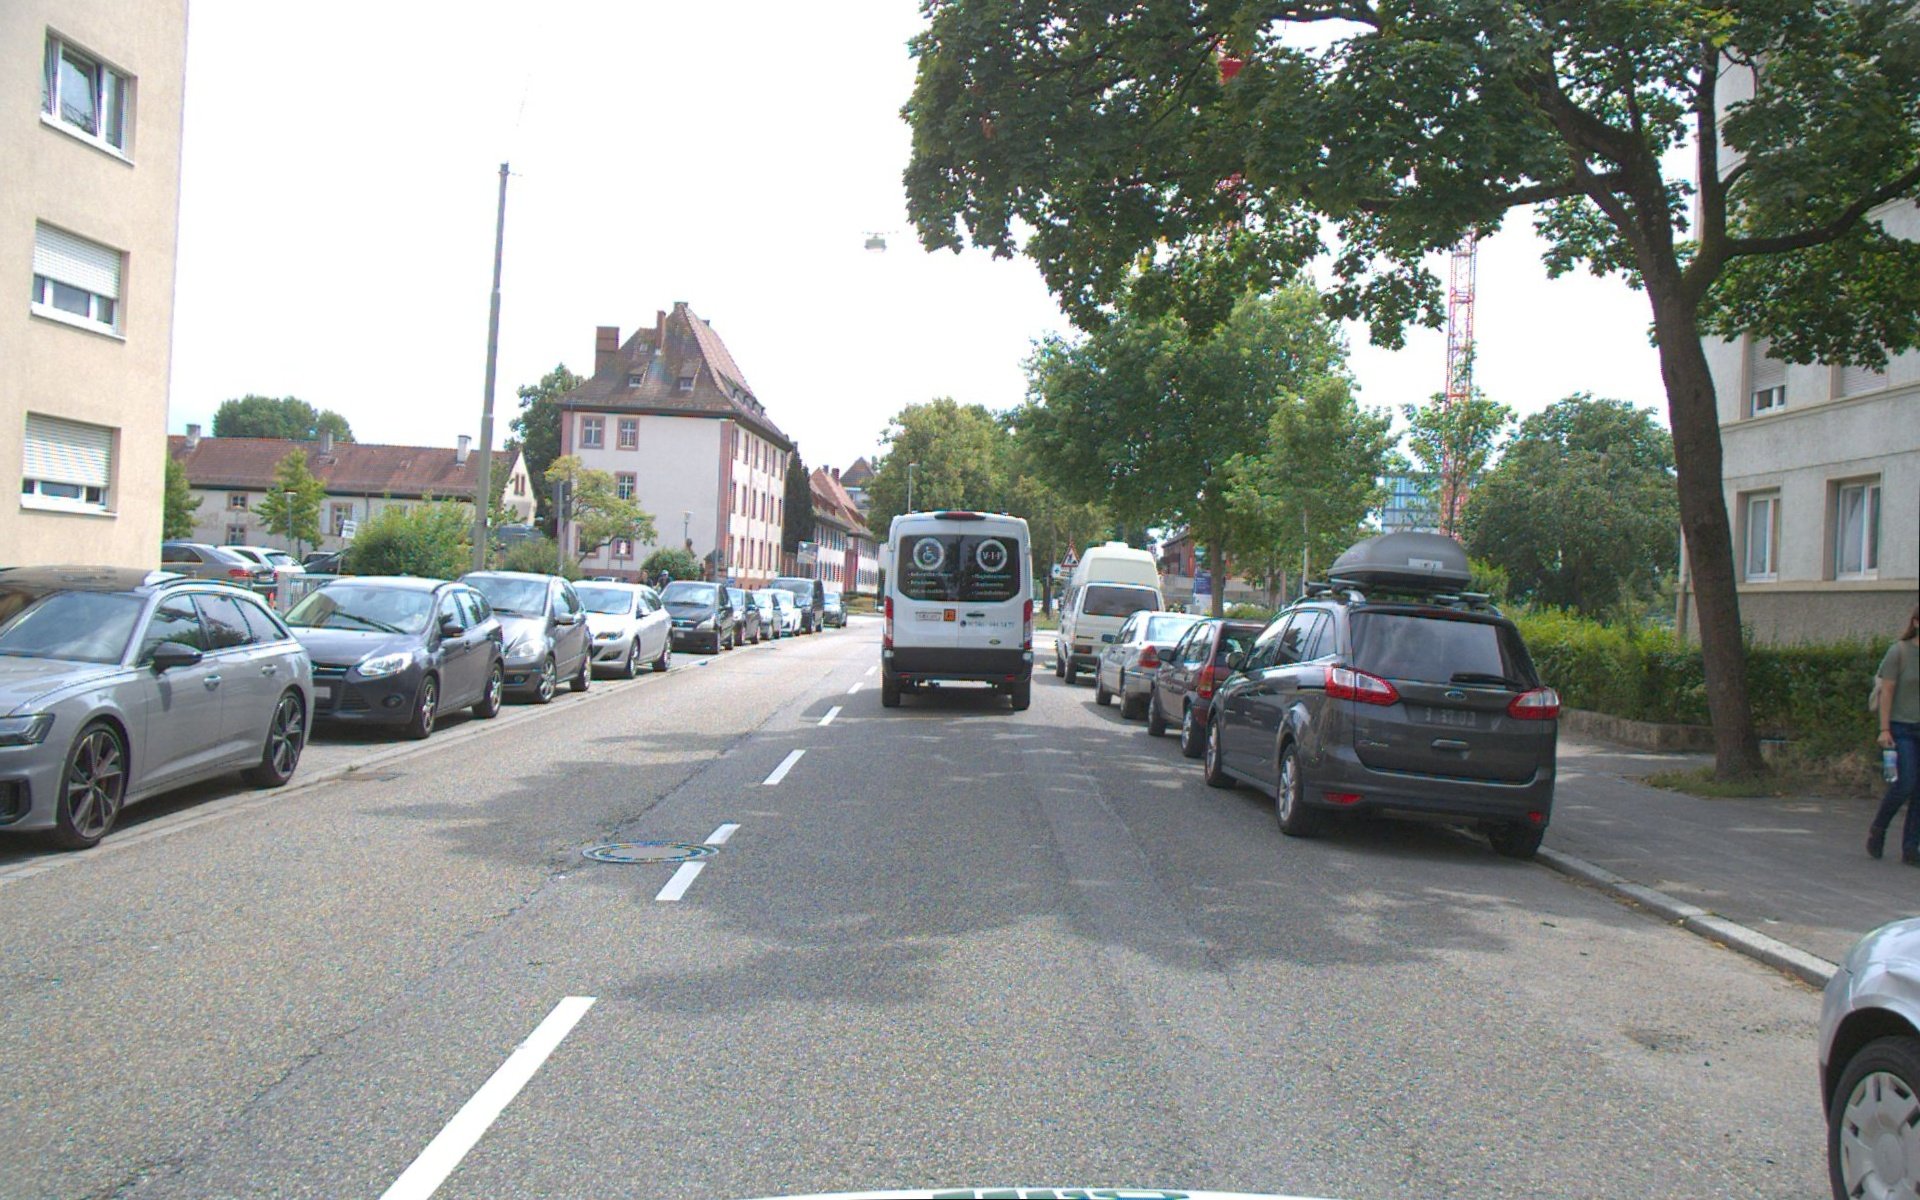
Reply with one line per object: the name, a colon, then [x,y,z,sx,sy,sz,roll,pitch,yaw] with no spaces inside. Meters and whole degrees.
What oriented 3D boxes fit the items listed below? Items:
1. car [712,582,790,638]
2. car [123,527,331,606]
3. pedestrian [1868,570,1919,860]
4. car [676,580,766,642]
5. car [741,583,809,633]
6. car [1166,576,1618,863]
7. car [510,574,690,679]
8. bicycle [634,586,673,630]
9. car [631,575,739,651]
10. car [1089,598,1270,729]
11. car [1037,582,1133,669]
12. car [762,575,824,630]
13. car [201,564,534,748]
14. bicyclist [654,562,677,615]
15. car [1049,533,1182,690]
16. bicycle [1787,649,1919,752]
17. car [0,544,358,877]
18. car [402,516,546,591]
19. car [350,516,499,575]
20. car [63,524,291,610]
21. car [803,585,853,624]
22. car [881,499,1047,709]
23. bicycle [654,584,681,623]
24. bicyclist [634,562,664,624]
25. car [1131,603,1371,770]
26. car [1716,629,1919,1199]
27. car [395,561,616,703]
car: [-6.188,0.288,49.392,1.749,1.488,3.861,3,0,0]
car: [-17.718,-0.811,40.109,4.086,1.713,2.000,2,1,0]
pedestrian: [6.381,0.743,10.862,0.511,1.860,0.524,1,0,0]
car: [-6.335,0.281,44.217,1.749,1.488,3.861,3,0,0]
car: [-6.204,0.261,55.702,1.749,1.507,3.861,3,0,0]
car: [3.103,0.753,13.245,1.889,1.690,5.322,5,0,-3]
car: [-5.937,0.403,27.865,1.847,1.514,4.634,3,0,1]
bicycle: [-8.546,0.208,46.161,0.530,1.195,2.093,2,0,4]
car: [-6.287,0.285,38.257,1.749,1.570,3.861,3,0,0]
car: [2.952,0.805,23.181,1.647,1.494,4.553,5,0,-2]
car: [2.779,0.546,37.528,1.678,1.724,4.000,5,0,-1]
car: [-6.116,0.080,60.834,1.749,1.858,3.974,3,0,0]
car: [-5.834,0.479,16.971,1.706,1.522,4.784,3,0,-1]
bicyclist: [-9.149,-0.356,51.484,0.525,1.613,0.692,2,0,2]
car: [2.875,0.195,31.648,1.858,2.631,4.828,5,0,-1]
bicycle: [8.838,0.980,16.117,1.360,0.933,0.513,2,1,-14]
car: [-5.657,0.480,10.471,1.848,1.607,5.217,3,0,-2]
car: [-16.918,-1.616,57.710,4.318,2.389,2.000,2,1,0]
car: [-17.326,-1.742,53.640,4.086,1.713,2.000,2,1,0]
car: [-17.472,-0.739,37.047,4.086,1.713,2.000,2,1,0]
car: [-5.639,0.190,71.035,1.749,1.507,3.861,3,0,0]
car: [-0.042,0.056,23.073,2.029,2.585,4.632,1,0,-3]
bicycle: [-9.147,0.108,51.792,0.530,1.195,1.349,2,0,2]
bicyclist: [-8.568,-0.204,45.645,0.525,1.682,1.048,2,0,4]
car: [3.086,0.859,18.327,1.679,1.490,3.999,5,0,-3]
car: [3.089,0.887,2.865,1.625,1.482,4.035,4,0,0]
car: [-5.939,0.374,22.138,1.848,1.607,4.151,3,0,-2]
